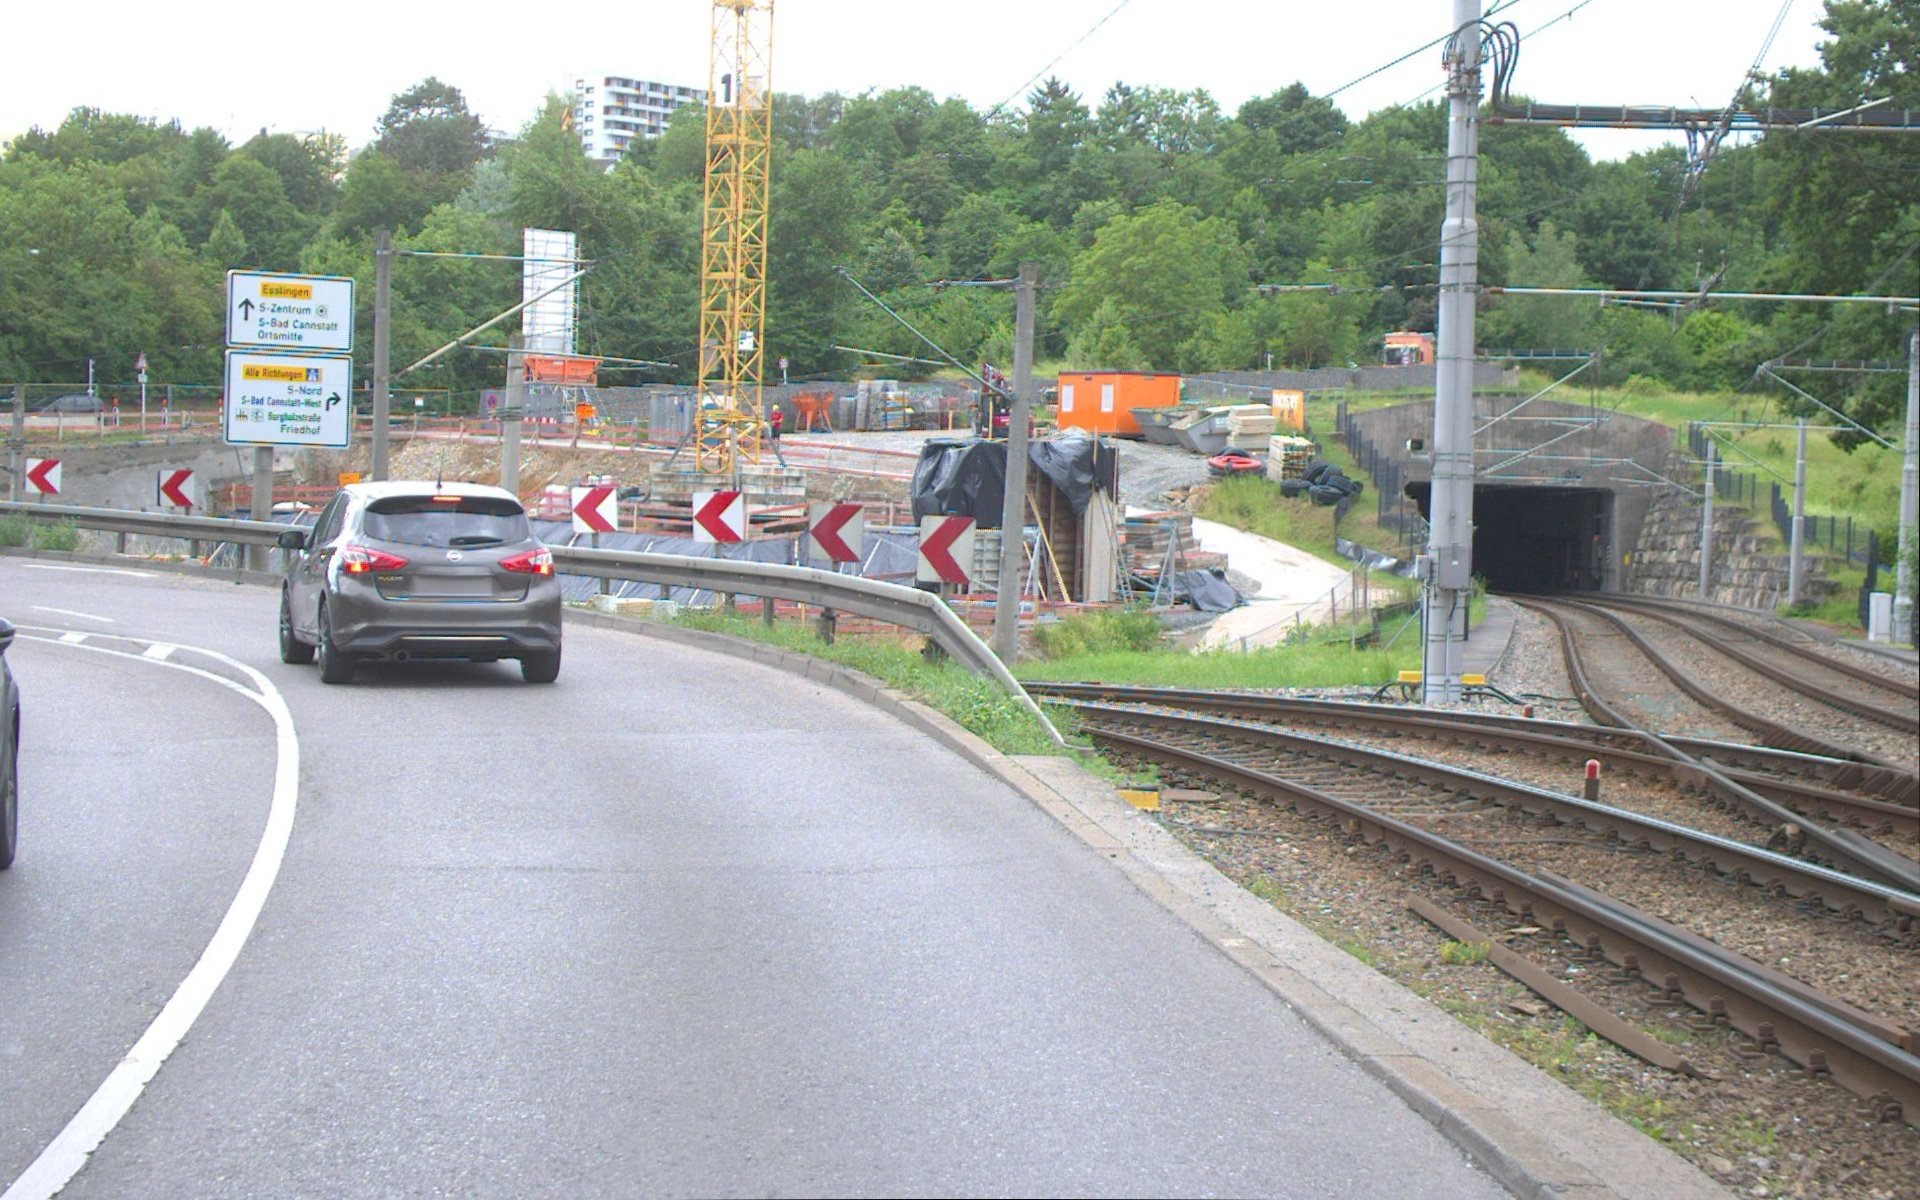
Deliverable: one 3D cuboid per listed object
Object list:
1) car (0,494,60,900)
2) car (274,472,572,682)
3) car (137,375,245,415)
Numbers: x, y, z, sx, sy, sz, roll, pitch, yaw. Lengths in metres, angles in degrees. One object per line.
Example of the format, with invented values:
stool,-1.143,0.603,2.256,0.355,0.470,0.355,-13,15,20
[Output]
car,-4.477,0.367,12.642,1.829,1.504,4.001,0,2,-8
car,-4.305,-0.234,27.088,1.829,1.504,4.002,1,2,-16
car,-31.262,-8.337,139.710,3.993,1.405,1.797,4,2,27
